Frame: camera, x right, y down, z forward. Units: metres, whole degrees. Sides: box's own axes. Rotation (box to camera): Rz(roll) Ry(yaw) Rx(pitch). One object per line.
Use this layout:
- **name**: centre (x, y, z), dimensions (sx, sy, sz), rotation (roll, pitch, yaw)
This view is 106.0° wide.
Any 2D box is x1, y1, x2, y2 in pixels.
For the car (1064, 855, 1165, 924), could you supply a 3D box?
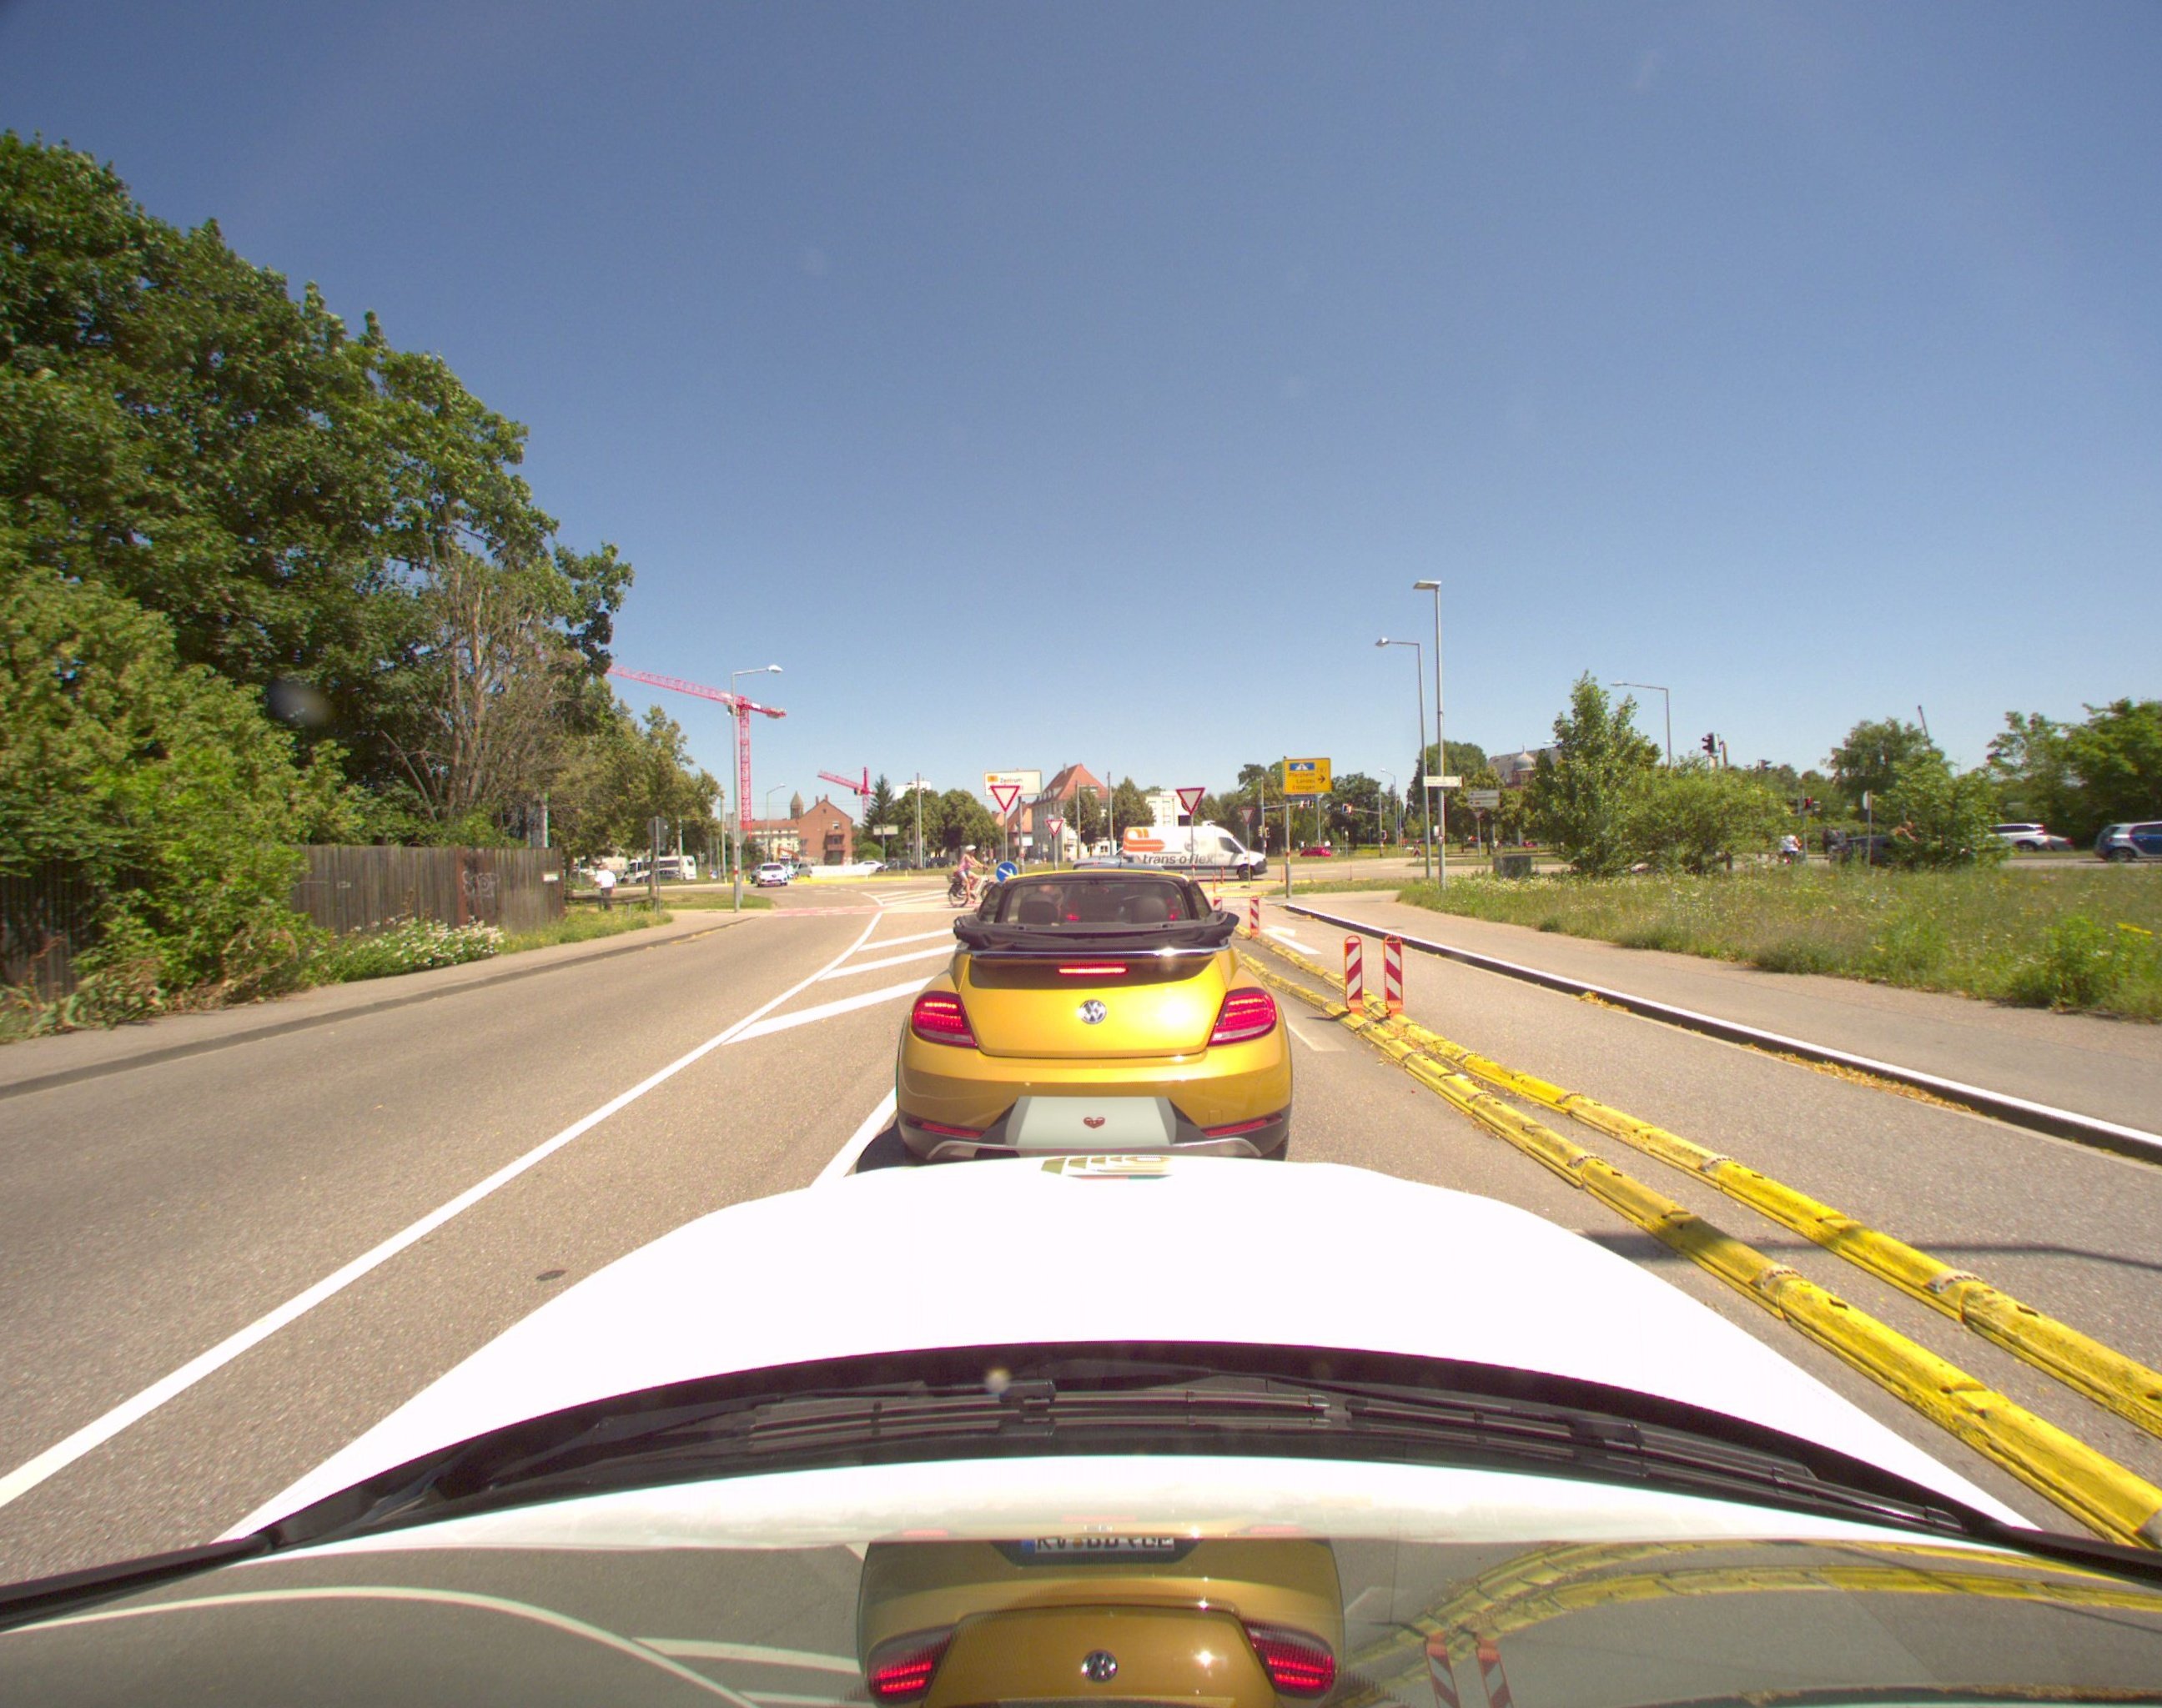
- **car**: centre (0.743, 0.740, 18.710), dimensions (2.057, 1.382, 4.259), rotation (0, -1, 1)

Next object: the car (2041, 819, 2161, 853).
- **car**: centre (51.412, -0.879, 40.582), dimensions (4.389, 1.592, 1.860), rotation (-1, -1, 43)

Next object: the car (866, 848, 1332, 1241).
- **car**: centre (0.130, 0.741, 5.221), dimensions (1.758, 1.481, 4.259), rotation (0, -1, 2)

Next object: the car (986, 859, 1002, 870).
- **car**: centre (-14.596, 1.739, 136.264), dimensions (1.889, 1.772, 3.977), rotation (0, -1, -17)

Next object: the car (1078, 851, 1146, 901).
- **car**: centre (1.036, 0.672, 27.684), dimensions (2.057, 1.481, 4.545), rotation (-2, 0, 2)

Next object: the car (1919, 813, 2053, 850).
- **car**: centre (45.908, -1.081, 41.458), dimensions (4.389, 1.736, 1.860), rotation (-1, -1, 43)

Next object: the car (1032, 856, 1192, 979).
- **car**: centre (0.435, 0.759, 11.772), dimensions (1.844, 1.366, 4.260), rotation (-2, 0, 2)

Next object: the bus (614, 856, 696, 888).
- **bus**: centre (-44.297, 1.876, 84.813), dimensions (7.244, 3.172, 2.256), rotation (0, -1, -6)

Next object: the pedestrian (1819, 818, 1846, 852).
- **pedestrian**: centre (37.905, -0.959, 41.068), dimensions (0.959, 1.660, 0.892), rotation (-1, -1, 44)

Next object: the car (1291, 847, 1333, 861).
- **car**: centre (26.833, 0.007, 94.493), dimensions (1.912, 1.654, 4.293), rotation (0, -1, -44)

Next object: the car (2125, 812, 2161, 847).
- **car**: centre (51.204, -1.152, 36.994), dimensions (4.389, 1.592, 1.860), rotation (-1, -1, 43)

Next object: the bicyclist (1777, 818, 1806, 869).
- **bicyclist**: centre (25.764, -0.381, 29.528), dimensions (0.573, 1.841, 0.603), rotation (0, -1, -29)

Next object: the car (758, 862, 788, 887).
- **car**: centre (-20.677, 1.358, 54.592), dimensions (1.783, 1.527, 3.843), rotation (-2, 0, -22)

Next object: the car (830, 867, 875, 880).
- **car**: centre (-24.573, 2.085, 87.774), dimensions (4.355, 1.371, 1.731), rotation (0, -1, -42)

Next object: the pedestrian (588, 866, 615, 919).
- **pedestrian**: centre (-16.663, 1.329, 28.284), dimensions (0.641, 1.786, 0.957), rotation (0, -1, -41)

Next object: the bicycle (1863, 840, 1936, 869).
- **bicycle**: centre (25.687, 0.013, 25.579), dimensions (0.371, 0.884, 1.575), rotation (0, -1, -40)

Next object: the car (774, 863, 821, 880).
- **car**: centre (-25.191, 1.526, 72.524), dimensions (1.714, 1.402, 4.290), rotation (-1, -1, 17)

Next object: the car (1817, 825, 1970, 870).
- **car**: centre (30.691, -0.248, 30.938), dimensions (3.949, 1.551, 1.739), rotation (-1, 3, 40)

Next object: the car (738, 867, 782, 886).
- **car**: centre (-24.095, 1.650, 61.337), dimensions (1.742, 1.371, 4.327), rotation (0, -1, -2)

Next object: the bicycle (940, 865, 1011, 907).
- **bicycle**: centre (-3.227, 0.981, 24.859), dimensions (2.073, 1.221, 0.637), rotation (-2, 0, 24)

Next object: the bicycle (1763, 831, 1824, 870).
- **bicycle**: centre (25.879, -0.120, 29.556), dimensions (2.902, 1.353, 0.635), rotation (0, -1, -28)

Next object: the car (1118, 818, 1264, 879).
- **car**: centre (5.326, -0.218, 39.326), dimensions (6.817, 2.828, 2.006), rotation (-1, -1, 11)

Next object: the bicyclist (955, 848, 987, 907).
- **bicyclist**: centre (-3.369, 0.700, 24.905), dimensions (0.664, 1.752, 0.596), rotation (-2, 1, 23)

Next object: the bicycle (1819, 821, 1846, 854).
- **bicycle**: centre (38.005, -0.830, 41.177), dimensions (0.972, 1.597, 2.900), rotation (-1, -1, 43)

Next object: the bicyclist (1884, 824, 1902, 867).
- **bicyclist**: centre (25.596, -0.263, 25.682), dimensions (0.381, 1.319, 0.352), rotation (0, -1, -40)

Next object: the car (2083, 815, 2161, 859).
- **car**: centre (41.308, -0.663, 30.586), dimensions (4.364, 1.595, 2.012), rotation (-1, 1, 44)
